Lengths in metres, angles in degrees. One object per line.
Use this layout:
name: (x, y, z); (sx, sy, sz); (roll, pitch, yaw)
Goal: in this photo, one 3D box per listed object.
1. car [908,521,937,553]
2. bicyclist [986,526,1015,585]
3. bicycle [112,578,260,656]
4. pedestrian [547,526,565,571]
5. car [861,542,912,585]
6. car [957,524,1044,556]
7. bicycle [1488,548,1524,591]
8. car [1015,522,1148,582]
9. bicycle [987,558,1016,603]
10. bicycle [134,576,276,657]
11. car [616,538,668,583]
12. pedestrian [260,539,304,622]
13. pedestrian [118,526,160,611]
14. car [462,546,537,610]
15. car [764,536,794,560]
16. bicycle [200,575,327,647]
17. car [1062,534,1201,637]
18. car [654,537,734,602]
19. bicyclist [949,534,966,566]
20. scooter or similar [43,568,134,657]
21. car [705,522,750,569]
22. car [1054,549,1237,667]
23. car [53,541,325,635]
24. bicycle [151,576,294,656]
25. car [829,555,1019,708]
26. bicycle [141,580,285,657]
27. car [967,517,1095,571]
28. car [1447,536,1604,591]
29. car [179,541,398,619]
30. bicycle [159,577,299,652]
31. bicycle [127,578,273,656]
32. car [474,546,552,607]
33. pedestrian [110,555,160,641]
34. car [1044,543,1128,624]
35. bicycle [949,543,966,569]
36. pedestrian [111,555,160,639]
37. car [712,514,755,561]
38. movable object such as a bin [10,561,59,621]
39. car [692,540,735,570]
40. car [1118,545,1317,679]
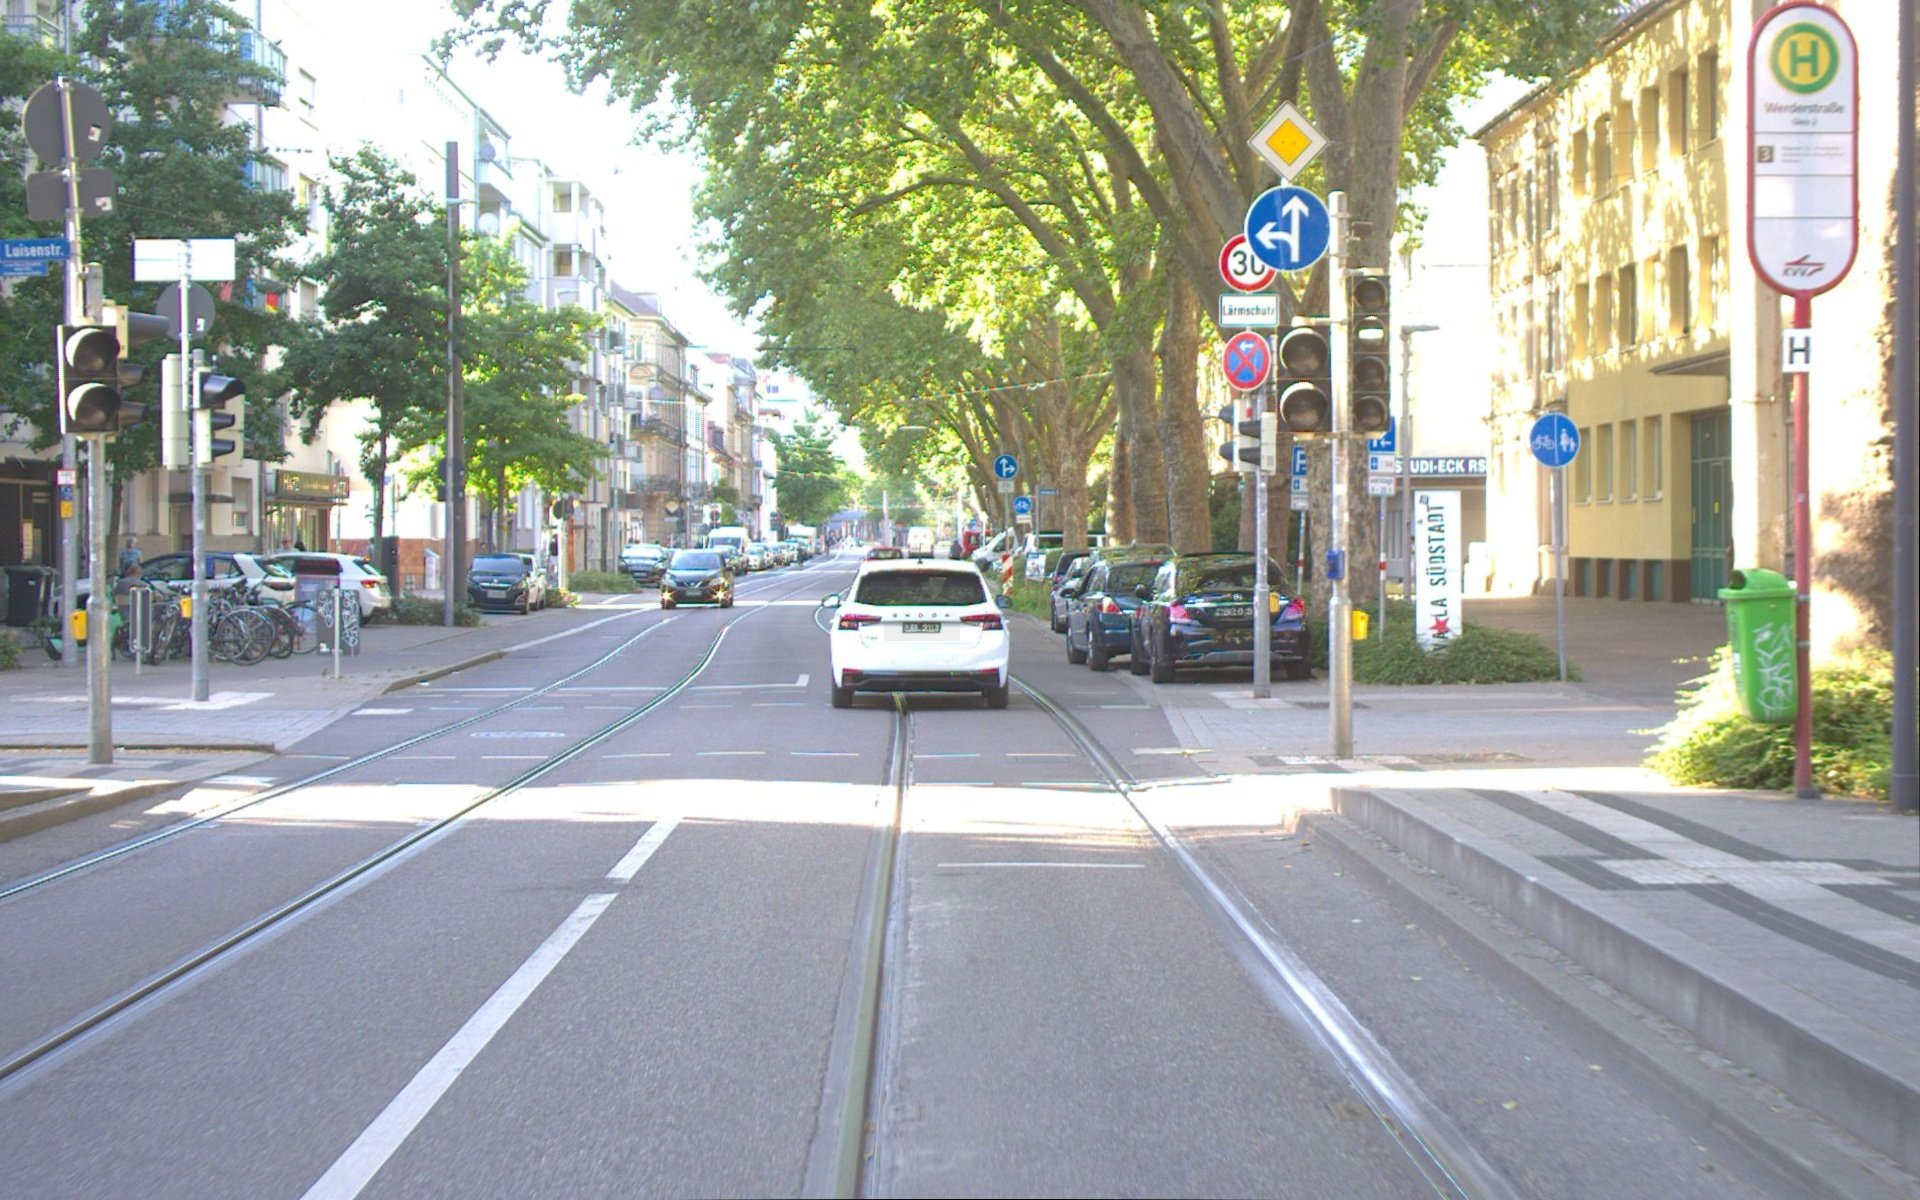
car: (-2.830, -4.767, 261.057); (2.202, 2.379, 4.000); (0, 1, -1)
bicyclist: (0.994, -1.093, 84.125); (0.678, 1.438, 1.047); (-1, 1, 0)
bicycle: (-10.215, 0.225, 45.436); (1.829, 1.003, 0.658); (1, 0, -5)
pedestrian: (-16.426, -2.078, 139.871); (0.663, 1.820, 0.965); (0, 1, -2)
car: (-2.608, -1.319, 122.541); (1.761, 1.470, 4.000); (-1, 1, 0)
car: (2.905, -4.334, 247.605); (6.130, 2.274, 2.529); (0, 1, -2)
bicycle: (14.381, -0.806, 90.549); (0.582, 1.100, 1.923); (-2, 1, -1)
car: (4.272, -1.698, 121.787); (4.543, 2.069, 2.001); (0, 1, -3)
bicycle: (1.005, -0.488, 84.176); (0.681, 1.067, 1.781); (-1, 1, 0)
bicycle: (-9.644, 0.212, 43.956); (1.690, 1.003, 0.658); (1, 0, -5)
car: (-12.348, -1.555, 133.668); (1.702, 1.645, 4.242); (2, 1, -2)
pedestrian: (-13.898, -0.403, 70.495); (0.763, 1.685, 0.795); (0, 1, -2)
pedestrian: (-16.266, -0.630, 68.125); (0.663, 1.685, 0.749); (0, 1, -2)
car: (-11.300, -0.563, 84.441); (1.713, 1.459, 4.001); (3, 0, -8)
car: (-12.981, -3.711, 246.621); (1.993, 1.634, 4.000); (1, 1, -1)
bicycle: (-9.922, 0.151, 49.010); (1.690, 1.003, 0.658); (1, 0, -5)
car: (2.804, -0.240, 57.210); (1.857, 1.598, 4.782); (-2, 0, -2)
car: (-6.927, -0.828, 89.921); (1.871, 1.584, 4.147); (2, 1, -2)
bicyclist: (-0.109, -2.068, 142.120); (0.649, 1.339, 0.934); (-1, 1, -2)
scooter or similar: (-11.625, 0.162, 45.853); (1.079, 1.172, 0.498); (1, 0, -2)
car: (-12.867, -3.018, 190.291); (2.178, 2.588, 4.949); (0, 1, -1)
car: (2.392, 0.064, 45.262); (1.864, 1.432, 4.227); (-1, 1, -4)
car: (-12.583, -0.201, 56.280); (4.012, 1.470, 1.852); (1, 0, 0)
bicycle: (-10.047, 0.212, 46.844); (1.829, 1.060, 0.658); (1, 0, -5)
car: (-0.404, 0.266, 34.074); (1.761, 1.379, 4.000); (-1, 1, -2)
bicycle: (-10.106, 0.246, 46.524); (1.829, 1.003, 0.658); (1, 0, -5)
car: (3.482, -2.750, 168.770); (6.130, 2.626, 2.529); (0, 1, -2)
car: (16.460, -1.080, 100.219); (4.130, 1.588, 2.000); (0, 1, -5)
car: (-13.244, -0.392, 67.970); (4.012, 1.470, 1.852); (1, 0, -3)
bicycle: (-10.126, 0.198, 47.656); (1.829, 1.003, 0.658); (1, 0, -5)
bicycle: (-10.129, 0.222, 45.878); (1.829, 1.003, 0.658); (1, 0, -5)
car: (-11.578, -0.619, 89.225); (1.713, 1.459, 4.378); (3, 0, -5)
pedestrian: (-12.725, -0.038, 53.013); (0.712, 1.293, 0.748); (-1, 1, -14)
car: (2.445, -0.327, 67.202); (1.564, 1.514, 2.910); (-2, 0, 1)
bicycle: (-0.100, -1.814, 142.111); (0.649, 1.067, 1.583); (-1, 1, -2)
pedestrian: (-13.012, -0.053, 54.252); (0.712, 1.293, 0.912); (-1, 1, -14)
car: (-13.757, -3.789, 208.949); (2.342, 2.851, 4.000); (0, 1, -1)
movable object such as a bin: (-16.358, -0.165, 60.762); (0.678, 1.052, 0.622); (-1, 1, 1)
car: (-12.775, -2.326, 178.575); (1.993, 1.525, 4.000); (0, 1, -1)
car: (2.948, 0.093, 40.287); (1.764, 1.457, 5.013); (0, 1, -2)
